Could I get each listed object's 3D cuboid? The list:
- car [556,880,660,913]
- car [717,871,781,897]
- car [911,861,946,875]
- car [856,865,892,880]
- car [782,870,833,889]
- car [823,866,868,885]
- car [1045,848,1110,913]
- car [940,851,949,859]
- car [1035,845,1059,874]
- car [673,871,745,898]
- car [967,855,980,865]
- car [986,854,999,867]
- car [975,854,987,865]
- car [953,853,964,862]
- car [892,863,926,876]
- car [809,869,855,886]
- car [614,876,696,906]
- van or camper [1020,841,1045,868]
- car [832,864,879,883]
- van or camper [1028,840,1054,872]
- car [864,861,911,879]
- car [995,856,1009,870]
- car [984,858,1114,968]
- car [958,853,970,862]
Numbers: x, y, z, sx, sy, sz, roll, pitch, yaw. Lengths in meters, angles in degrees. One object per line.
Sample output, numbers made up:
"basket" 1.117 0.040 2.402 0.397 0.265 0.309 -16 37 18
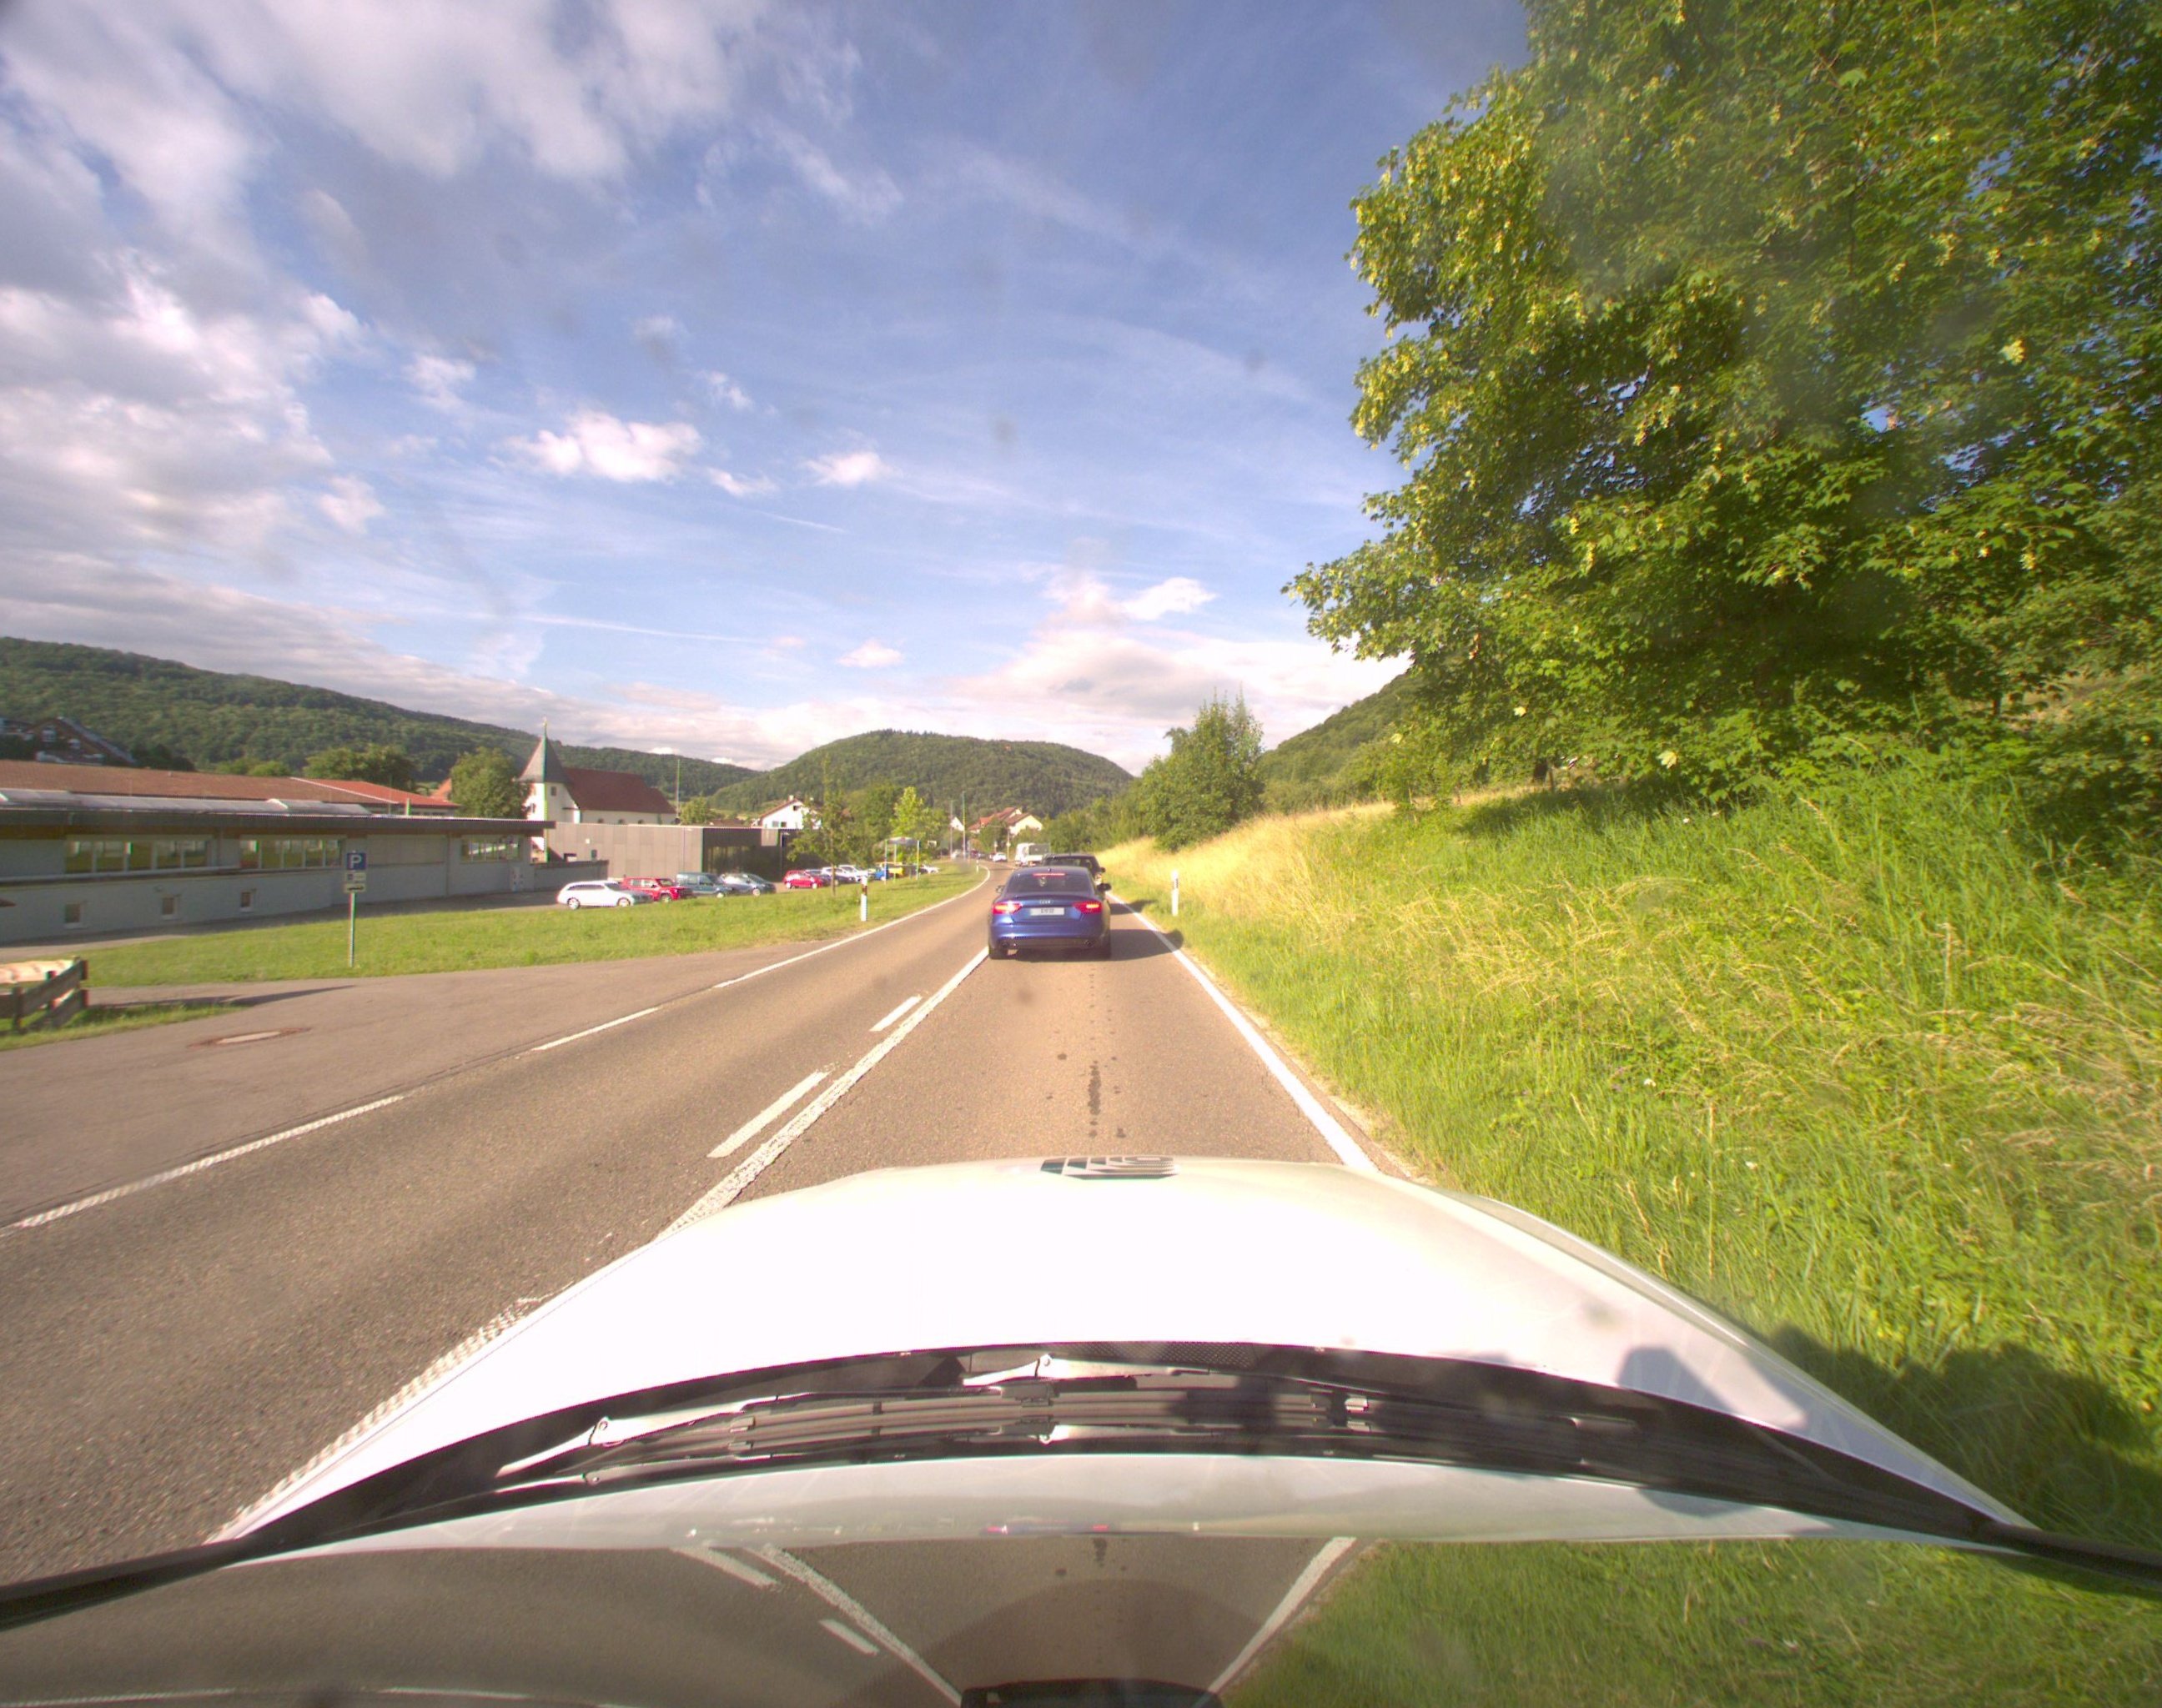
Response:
"car" -26.063 2.323 44.986 4.618 1.589 2.003 -2 0 5
"car" -23.629 2.132 58.037 3.799 1.722 1.734 -2 0 5
"car" -19.207 1.757 102.788 4.015 1.660 1.659 -2 0 6
"car" -21.750 1.931 85.714 3.360 1.373 1.659 -2 0 -2
"car" -22.872 2.114 68.164 3.606 1.444 1.651 -2 0 6
"car" -22.092 2.020 76.376 3.647 1.493 1.600 -2 3 6
"car" -0.106 0.659 22.102 1.641 1.625 3.515 0 0 -1
"car" -32.736 0.284 195.345 1.682 1.924 3.975 -2 0 -18
"car" -2.449 0.383 58.644 1.564 2.013 3.996 -2 0 -3
"car" -24.403 1.987 53.485 3.845 1.722 1.757 -1 0 3
"car" -20.767 1.166 157.497 1.681 1.924 3.976 -2 0 -17
"car" -14.534 1.081 133.499 1.661 1.924 3.982 -2 0 -13
"car" -18.233 1.067 148.415 1.663 1.924 3.978 -2 0 -16
"car" -26.739 0.784 177.614 1.682 1.924 3.974 -2 0 -19
"car" -20.822 1.906 98.531 3.693 1.439 1.512 -2 0 6
"car" -22.376 2.118 73.205 3.606 1.405 1.599 -2 -1 6
"car" -24.987 2.142 47.810 3.900 1.579 1.758 -2 0 5
"van or camper" -5.295 0.044 88.007 2.278 2.714 5.754 -2 0 -6
"car" -22.066 1.896 79.755 4.056 1.673 1.599 -2 0 6
"van or camper" -3.430 0.174 68.824 2.048 2.505 5.803 -2 0 -4
"car" -20.977 1.694 88.259 4.530 1.815 1.844 -2 0 6
"car" -11.812 1.316 121.877 1.660 1.924 3.985 -2 0 -11
"car" -0.489 0.825 12.987 1.738 1.450 3.514 -2 0 -2
"car" -24.206 0.745 168.303 1.682 1.924 3.975 -2 0 -18
